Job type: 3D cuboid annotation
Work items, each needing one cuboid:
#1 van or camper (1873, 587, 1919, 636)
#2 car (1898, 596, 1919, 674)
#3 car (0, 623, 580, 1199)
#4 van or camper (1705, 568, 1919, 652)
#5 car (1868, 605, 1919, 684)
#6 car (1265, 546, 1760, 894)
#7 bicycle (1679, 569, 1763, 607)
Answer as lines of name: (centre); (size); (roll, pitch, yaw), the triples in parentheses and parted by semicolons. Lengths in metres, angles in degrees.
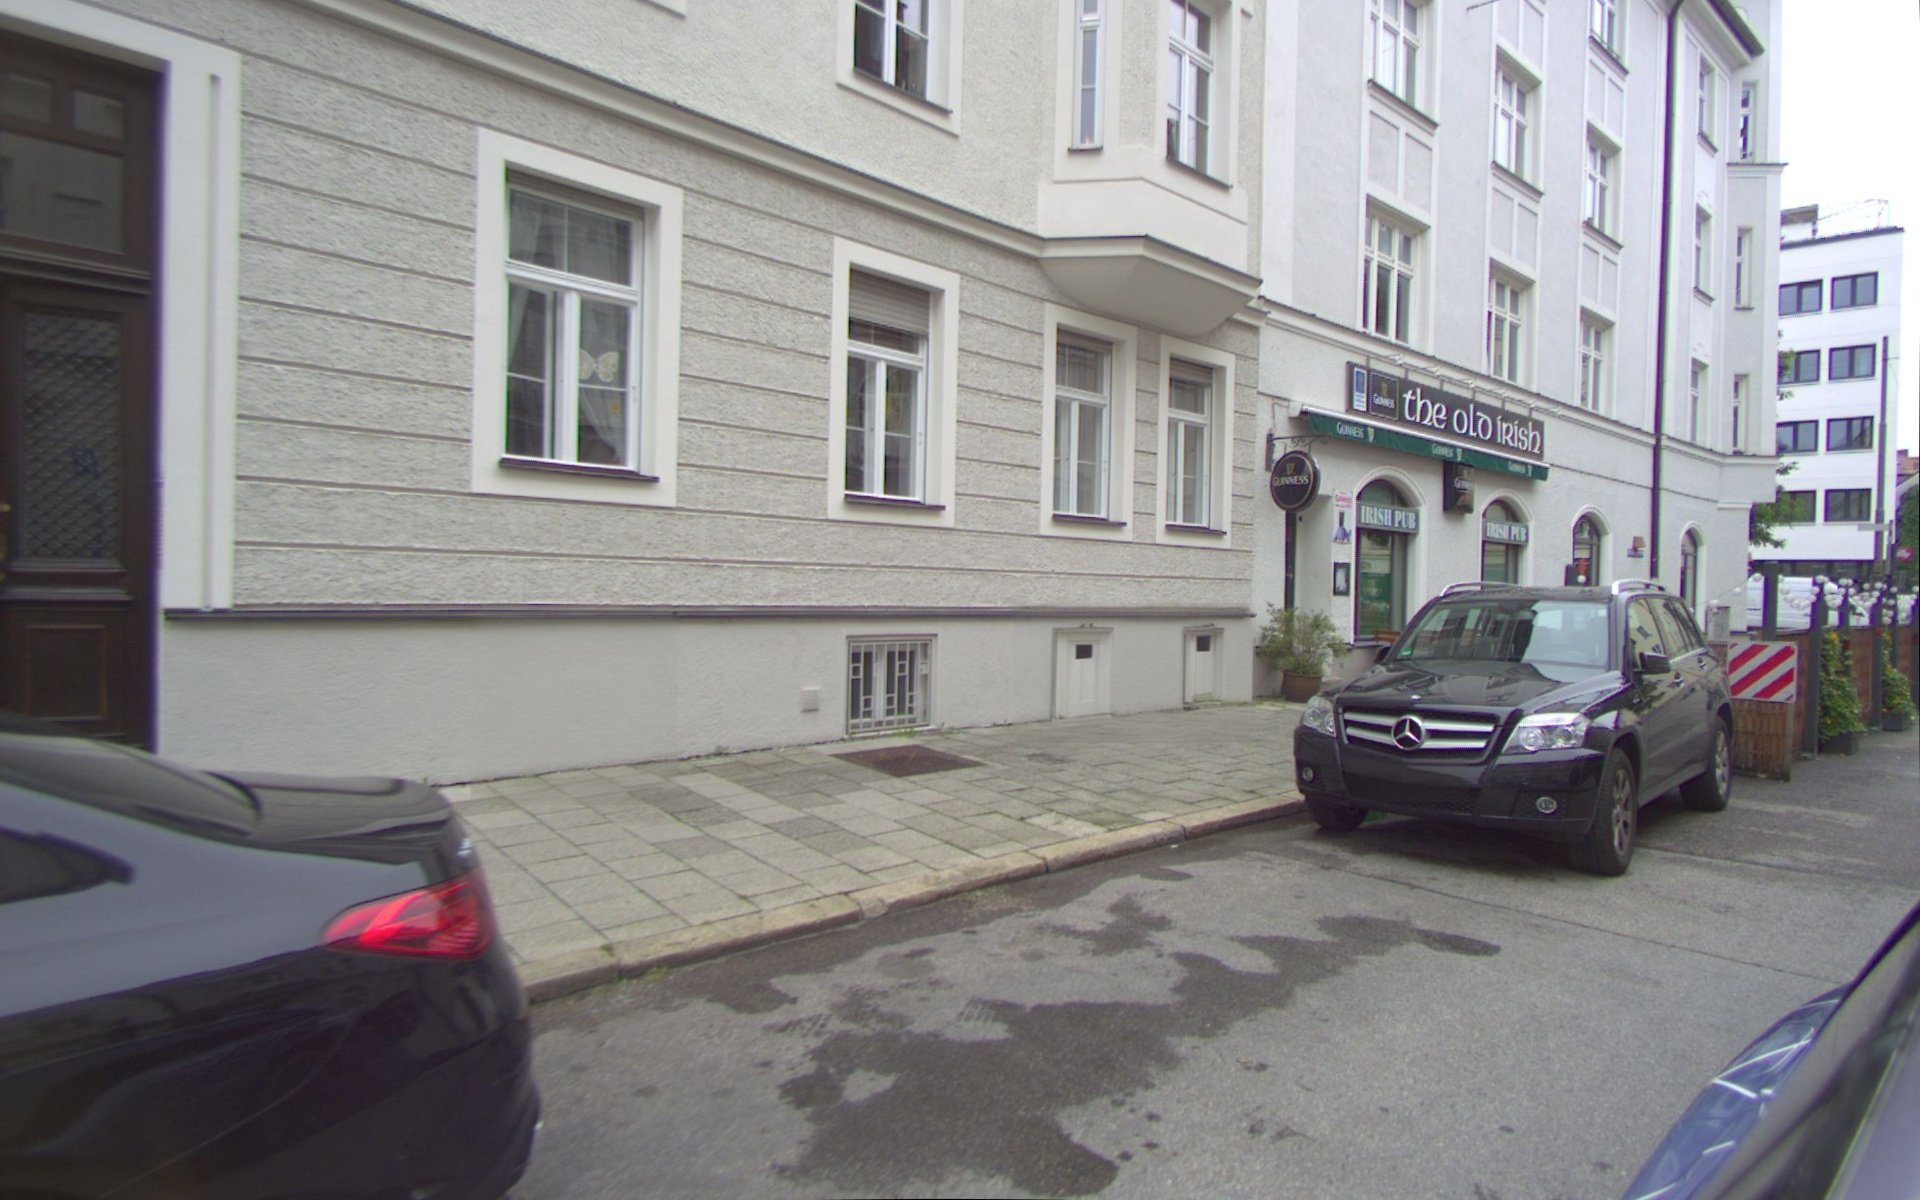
van or camper: (51.328, 0.626, 54.771); (1.954, 2.540, 5.654); (2, 1, 33)
car: (22.106, 0.744, 22.143); (4.022, 1.639, 1.839); (1, -2, -40)
car: (-3.107, 0.753, 0.882); (1.836, 1.417, 4.894); (0, -1, 44)
van or camper: (30.755, 0.316, 36.656); (5.849, 2.748, 2.269); (2, -2, 42)
car: (18.842, 0.827, 19.409); (3.430, 1.418, 1.669); (1, -2, -40)
car: (4.010, 0.608, 7.022); (4.118, 1.696, 1.802); (1, -1, -43)
bicycle: (24.005, -0.379, 31.962); (0.673, 1.144, 2.012); (1, 1, -35)
